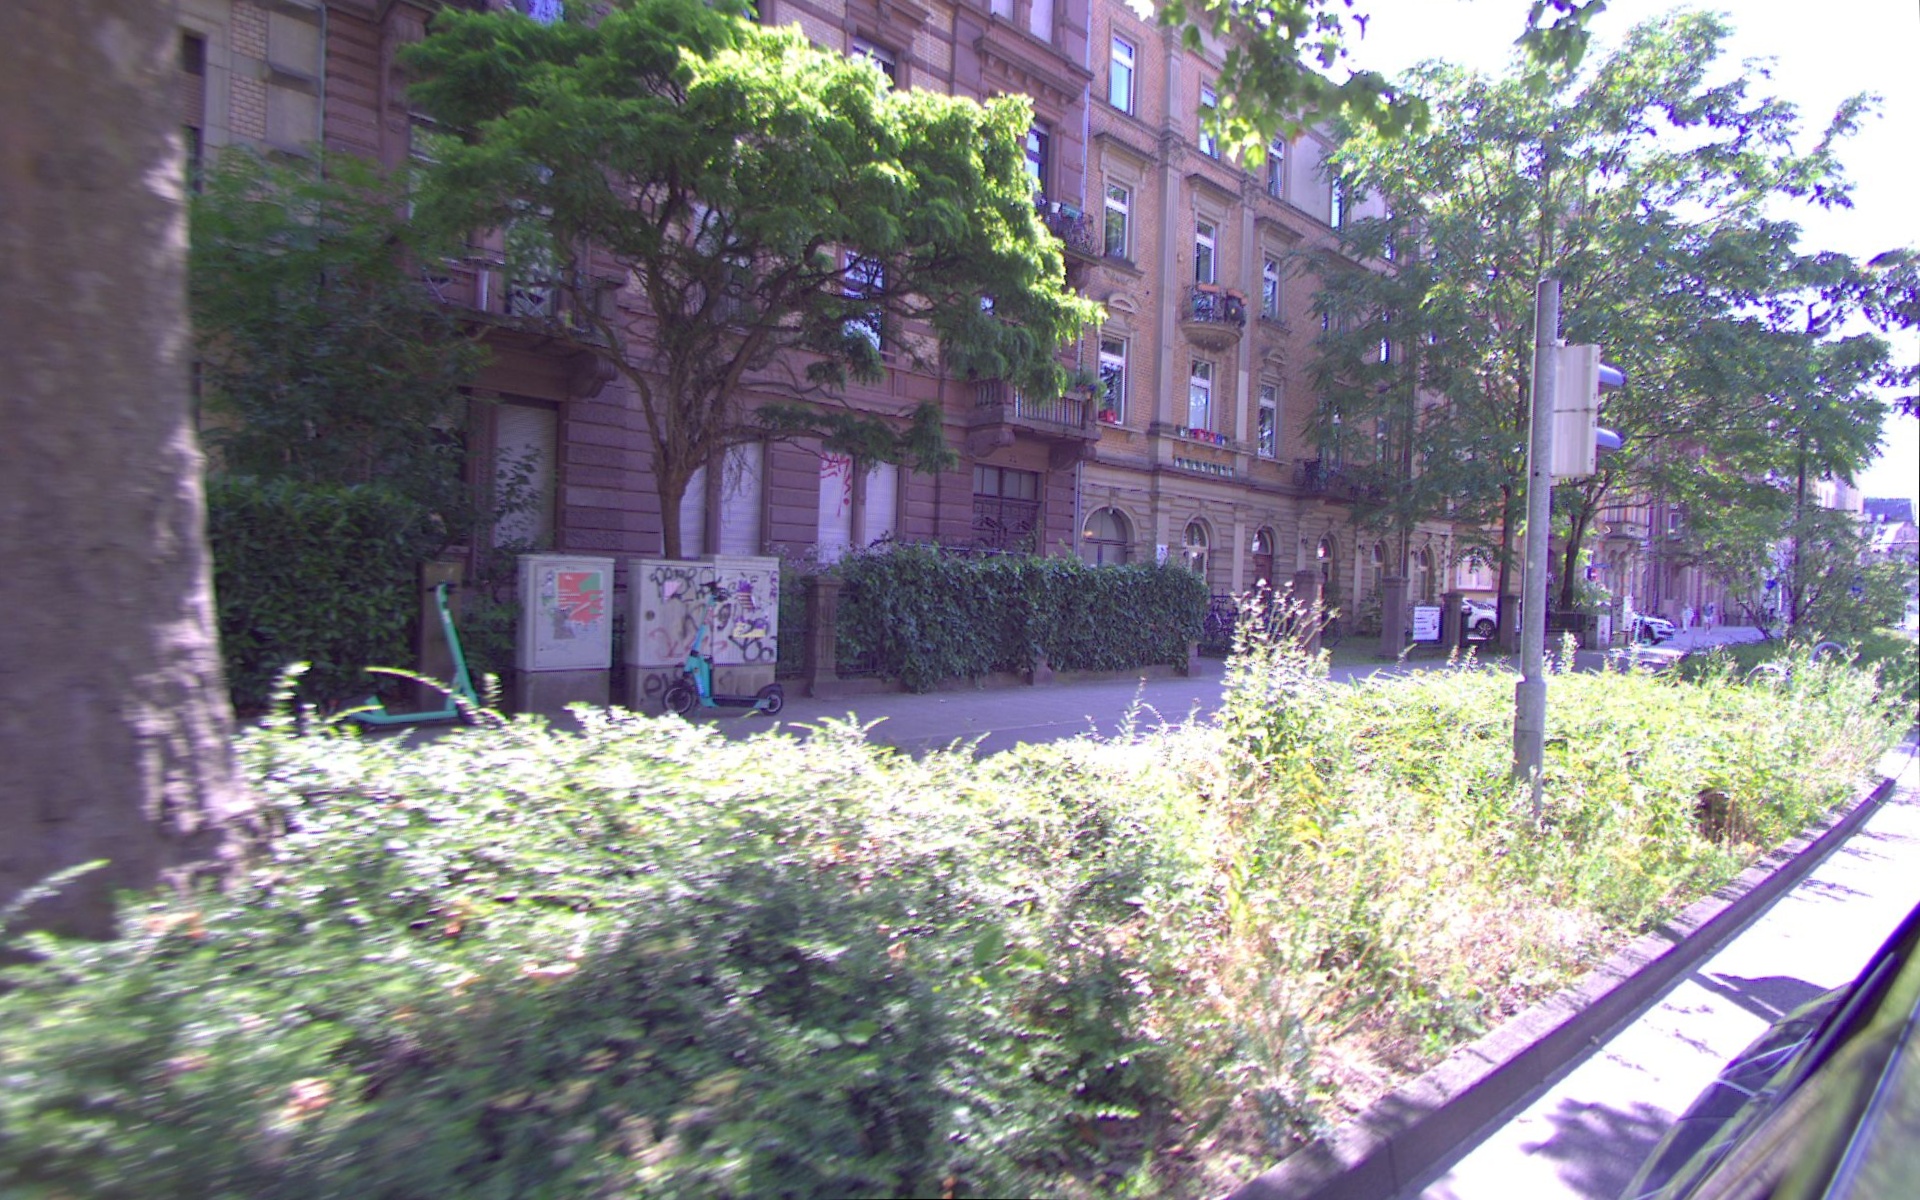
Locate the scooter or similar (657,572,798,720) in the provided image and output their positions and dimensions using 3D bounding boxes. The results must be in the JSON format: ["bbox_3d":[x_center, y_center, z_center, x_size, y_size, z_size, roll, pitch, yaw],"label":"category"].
[{"bbox_3d":[-2.175,0.406,9.508,1.124,1.298,0.583,1,1,-40],"label":"scooter or similar"}]

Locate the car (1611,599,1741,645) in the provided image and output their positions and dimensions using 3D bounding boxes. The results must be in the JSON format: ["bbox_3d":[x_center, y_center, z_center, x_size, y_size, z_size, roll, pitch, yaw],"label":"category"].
[{"bbox_3d":[28.462,0.840,40.285,4.075,1.535,1.861,3,2,40],"label":"car"}]

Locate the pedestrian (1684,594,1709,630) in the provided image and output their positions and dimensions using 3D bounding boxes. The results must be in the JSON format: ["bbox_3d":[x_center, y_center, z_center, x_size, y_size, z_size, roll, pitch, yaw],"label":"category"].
[{"bbox_3d":[36.878,0.601,50.652,0.951,1.740,0.796,1,1,-43],"label":"pedestrian"}]

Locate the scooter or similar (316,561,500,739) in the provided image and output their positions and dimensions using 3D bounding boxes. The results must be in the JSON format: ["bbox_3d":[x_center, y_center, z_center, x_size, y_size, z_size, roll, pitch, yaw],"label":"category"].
[{"bbox_3d":[-4.247,0.354,7.811,1.125,1.263,0.583,1,1,-42],"label":"scooter or similar"}]

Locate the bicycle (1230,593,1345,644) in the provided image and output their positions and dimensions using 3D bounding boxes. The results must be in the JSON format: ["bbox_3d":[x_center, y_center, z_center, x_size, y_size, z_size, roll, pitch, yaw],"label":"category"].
[{"bbox_3d":[8.207,0.433,25.360,2.558,1.125,1.101,3,1,29],"label":"bicycle"}]

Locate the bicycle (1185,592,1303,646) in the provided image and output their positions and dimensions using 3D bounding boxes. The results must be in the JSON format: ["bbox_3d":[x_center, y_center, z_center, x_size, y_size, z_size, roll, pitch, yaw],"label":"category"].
[{"bbox_3d":[6.634,0.418,23.672,2.554,1.125,0.767,3,1,25],"label":"bicycle"}]

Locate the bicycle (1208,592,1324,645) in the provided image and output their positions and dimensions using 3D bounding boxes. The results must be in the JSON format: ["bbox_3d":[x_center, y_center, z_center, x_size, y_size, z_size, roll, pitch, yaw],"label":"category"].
[{"bbox_3d":[7.374,0.428,24.422,2.558,1.125,0.765,3,1,29],"label":"bicycle"}]
